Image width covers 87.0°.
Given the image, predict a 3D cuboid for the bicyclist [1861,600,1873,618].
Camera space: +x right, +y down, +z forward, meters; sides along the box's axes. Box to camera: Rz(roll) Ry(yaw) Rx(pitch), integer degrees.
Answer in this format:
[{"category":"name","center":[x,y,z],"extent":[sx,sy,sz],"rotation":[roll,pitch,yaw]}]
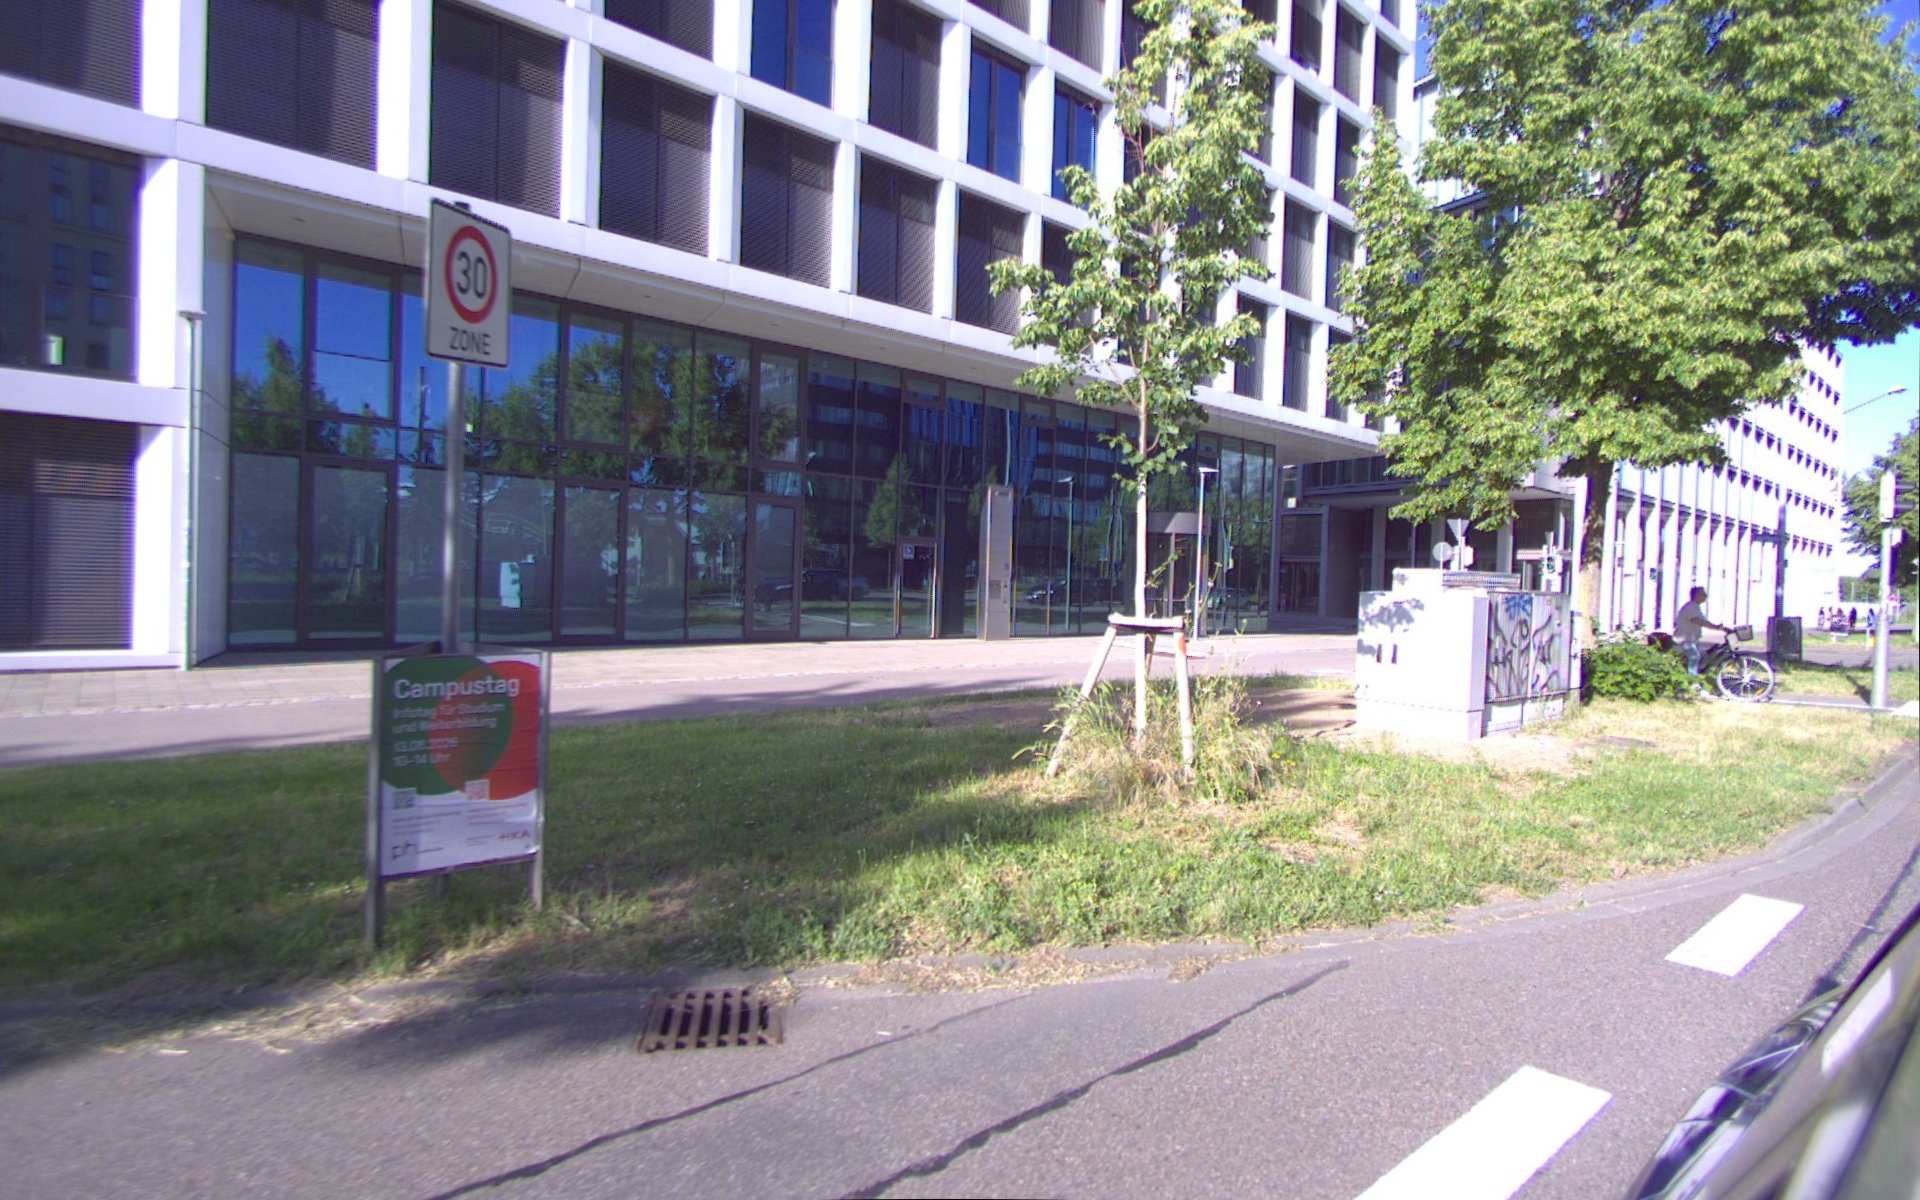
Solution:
[{"category":"bicyclist","center":[63.613,0.628,70.955],"extent":[0.511,1.305,0.534],"rotation":[0,1,-40]}]

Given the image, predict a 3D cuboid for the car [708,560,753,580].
[{"category":"car","center":[-23.199,-3.045,102.162],"extent":[4.044,1.816,1.872],"rotation":[1,1,-27]}]

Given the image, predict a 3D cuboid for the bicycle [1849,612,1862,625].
[{"category":"bicycle","center":[61.030,1.237,68.977],"extent":[1.321,0.828,0.464],"rotation":[0,1,-40]}]

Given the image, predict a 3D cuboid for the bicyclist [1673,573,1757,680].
[{"category":"bicyclist","center":[11.512,0.387,15.436],"extent":[0.761,1.550,0.848],"rotation":[1,2,-43]}]

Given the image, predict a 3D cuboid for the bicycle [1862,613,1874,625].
[{"category":"bicycle","center":[63.623,1.345,70.908],"extent":[1.321,0.828,0.464],"rotation":[0,1,-40]}]

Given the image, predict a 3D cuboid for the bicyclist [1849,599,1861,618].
[{"category":"bicyclist","center":[60.993,0.584,68.954],"extent":[0.498,1.232,0.534],"rotation":[0,1,-40]}]

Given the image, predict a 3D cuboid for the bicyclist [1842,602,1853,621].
[{"category":"bicyclist","center":[62.879,0.787,71.714],"extent":[0.449,1.305,0.534],"rotation":[0,1,-40]}]

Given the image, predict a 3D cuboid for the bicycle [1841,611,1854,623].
[{"category":"bicycle","center":[62.907,1.190,71.739],"extent":[1.321,0.828,0.464],"rotation":[0,1,-40]}]

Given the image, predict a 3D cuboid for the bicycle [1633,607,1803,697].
[{"category":"bicycle","center":[11.512,0.751,15.425],"extent":[0.731,1.188,1.957],"rotation":[1,1,-44]}]

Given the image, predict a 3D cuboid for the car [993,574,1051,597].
[{"category":"car","center":[4.537,-1.054,74.391],"extent":[3.918,1.523,1.663],"rotation":[1,1,-28]}]

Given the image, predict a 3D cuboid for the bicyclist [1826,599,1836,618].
[{"category":"bicyclist","center":[60.168,0.603,69.900],"extent":[0.410,1.305,0.448],"rotation":[0,1,-40]}]

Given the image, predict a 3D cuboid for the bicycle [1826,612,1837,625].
[{"category":"bicycle","center":[60.212,1.271,69.914],"extent":[1.296,0.828,0.415],"rotation":[0,1,-40]}]
